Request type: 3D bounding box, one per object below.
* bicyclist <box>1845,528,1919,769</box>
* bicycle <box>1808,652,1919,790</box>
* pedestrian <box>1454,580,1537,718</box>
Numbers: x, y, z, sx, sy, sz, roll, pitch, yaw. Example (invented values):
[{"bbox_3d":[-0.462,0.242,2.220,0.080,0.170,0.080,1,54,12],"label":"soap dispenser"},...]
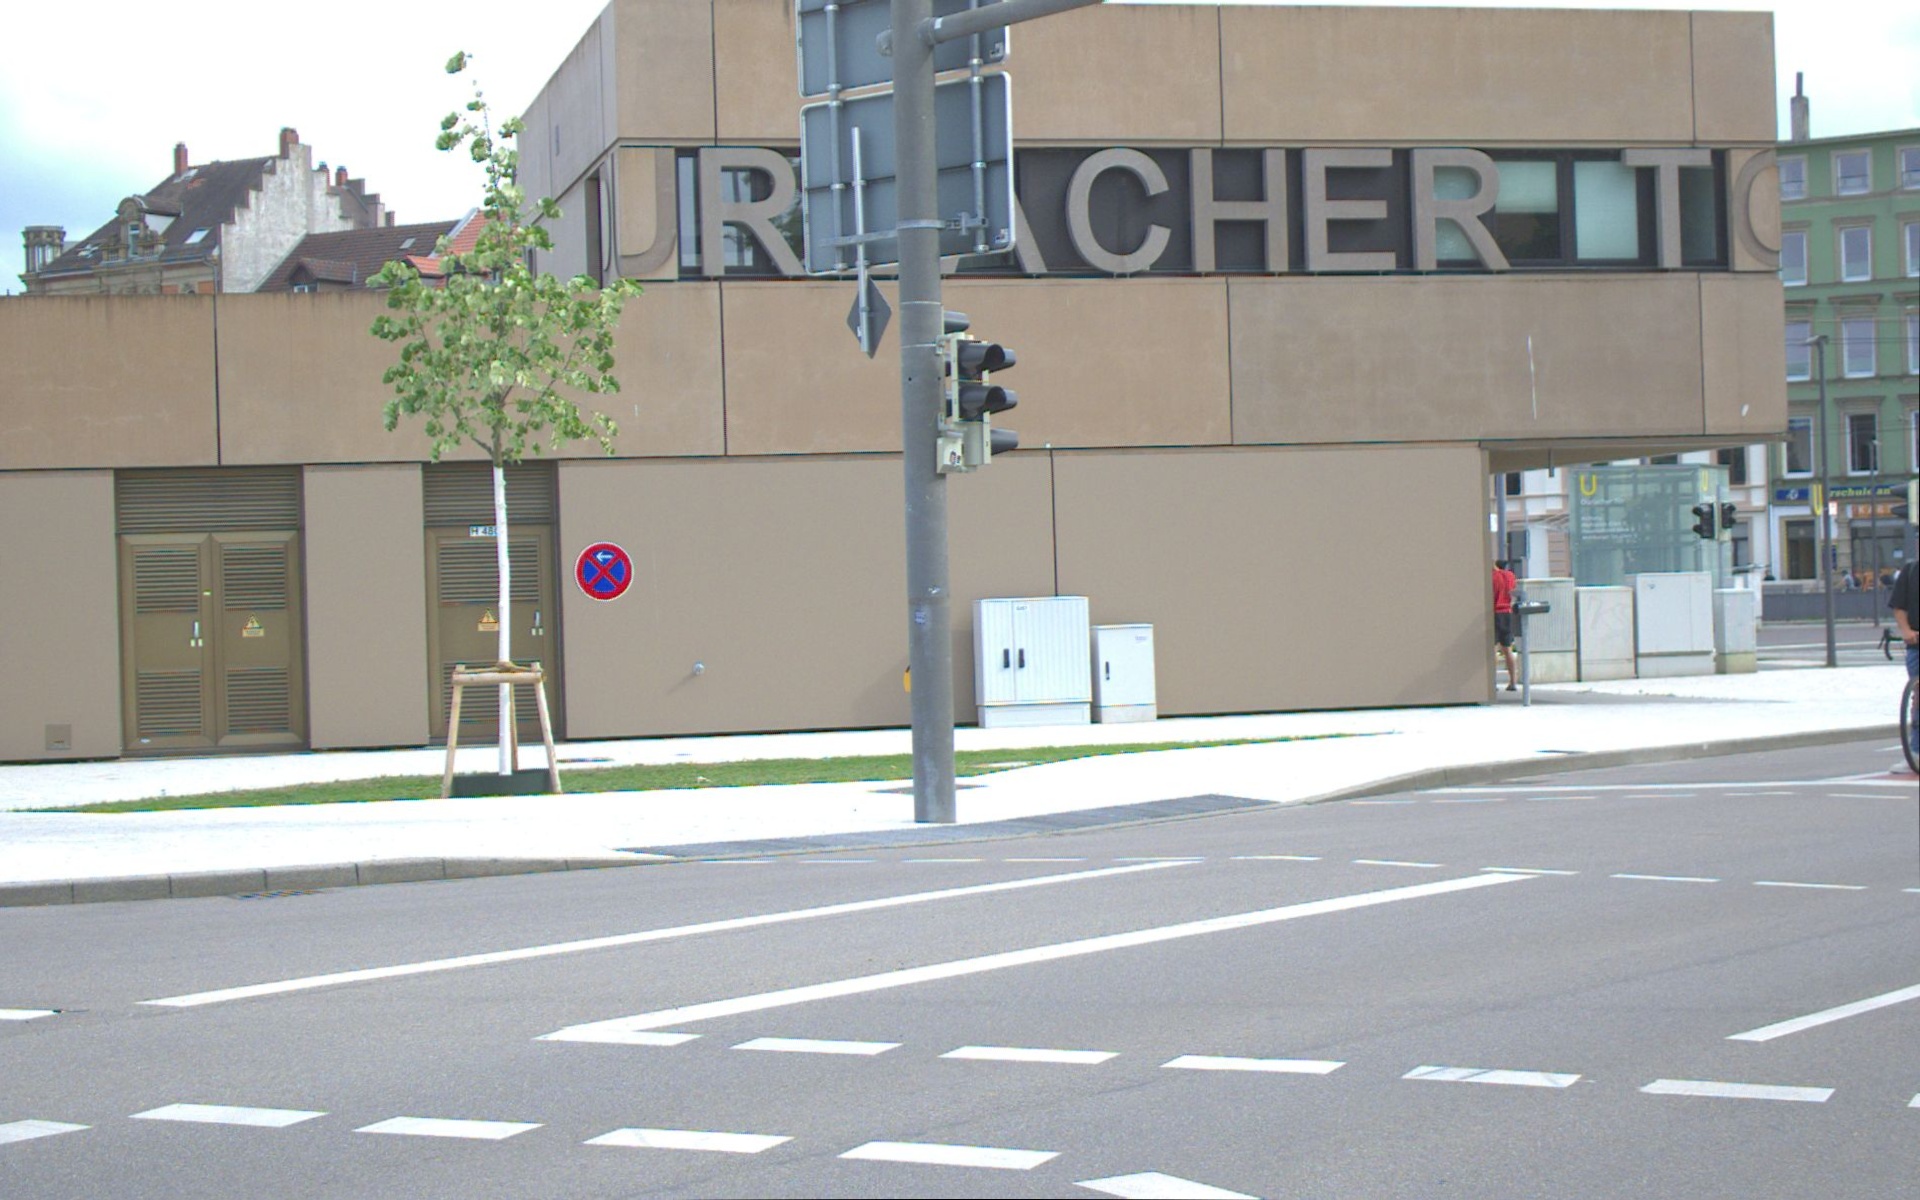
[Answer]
[{"bbox_3d":[6.799,0.333,24.142,0.868,1.663,0.879,1,0,34],"label":"bicyclist"},{"bbox_3d":[6.835,0.827,24.212,0.864,0.873,2.514,1,0,34],"label":"bicycle"},{"bbox_3d":[6.825,0.627,43.835,0.809,1.727,0.780,-2,-1,-7],"label":"pedestrian"}]
